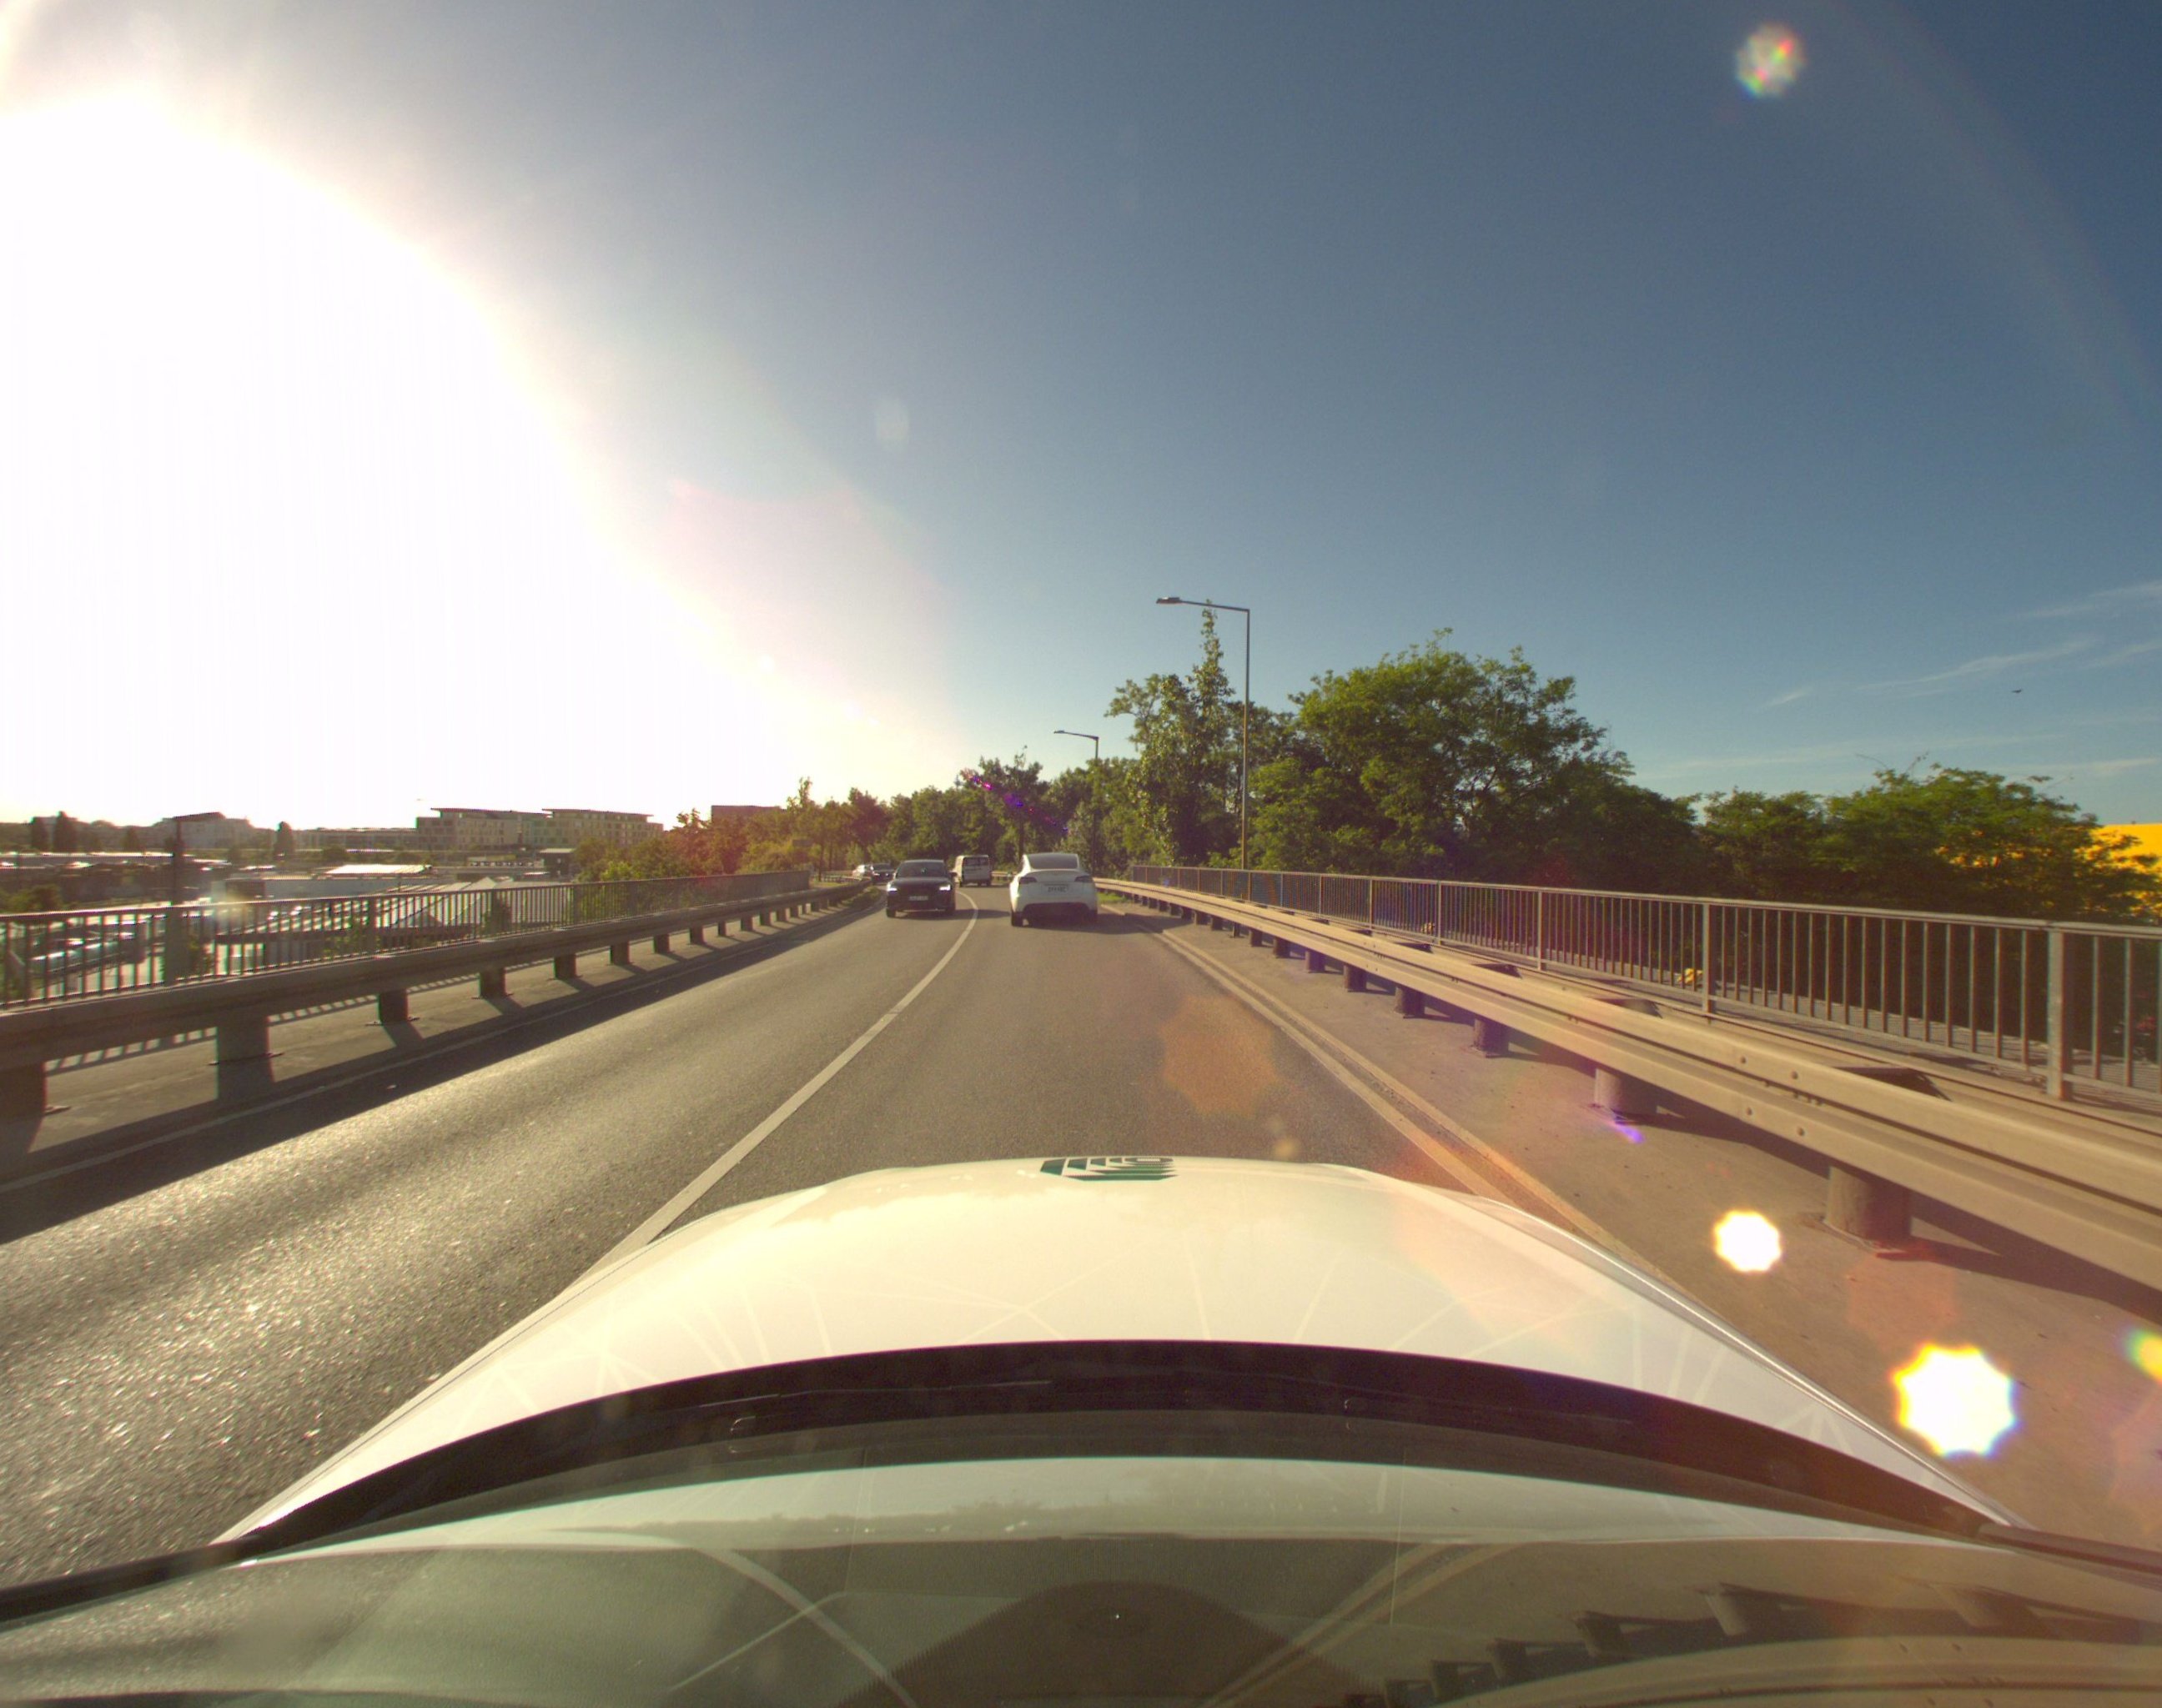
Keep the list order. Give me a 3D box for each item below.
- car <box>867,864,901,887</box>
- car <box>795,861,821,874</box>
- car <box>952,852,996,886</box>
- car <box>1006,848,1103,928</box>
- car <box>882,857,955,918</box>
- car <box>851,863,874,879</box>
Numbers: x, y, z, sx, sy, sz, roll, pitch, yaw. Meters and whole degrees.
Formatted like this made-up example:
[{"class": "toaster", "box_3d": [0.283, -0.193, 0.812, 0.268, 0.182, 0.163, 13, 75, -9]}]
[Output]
[{"class": "car", "box_3d": [-15.410, 1.636, 63.640, 1.906, 1.643, 4.430, -1, 0, -22]}, {"class": "car", "box_3d": [-34.539, 1.755, 103.017, 1.851, 1.555, 3.847, -1, 0, -40]}, {"class": "car", "box_3d": [-6.526, 0.877, 49.214, 2.009, 1.940, 4.444, -1, 0, -15]}, {"class": "car", "box_3d": [-0.737, 0.728, 19.147, 1.983, 1.638, 4.054, -1, 0, -6]}, {"class": "car", "box_3d": [-4.622, 0.892, 23.669, 1.823, 1.552, 4.172, -1, 0, -8]}, {"class": "car", "box_3d": [-22.731, 1.740, 84.619, 1.867, 1.585, 3.885, -1, 0, -22]}]
